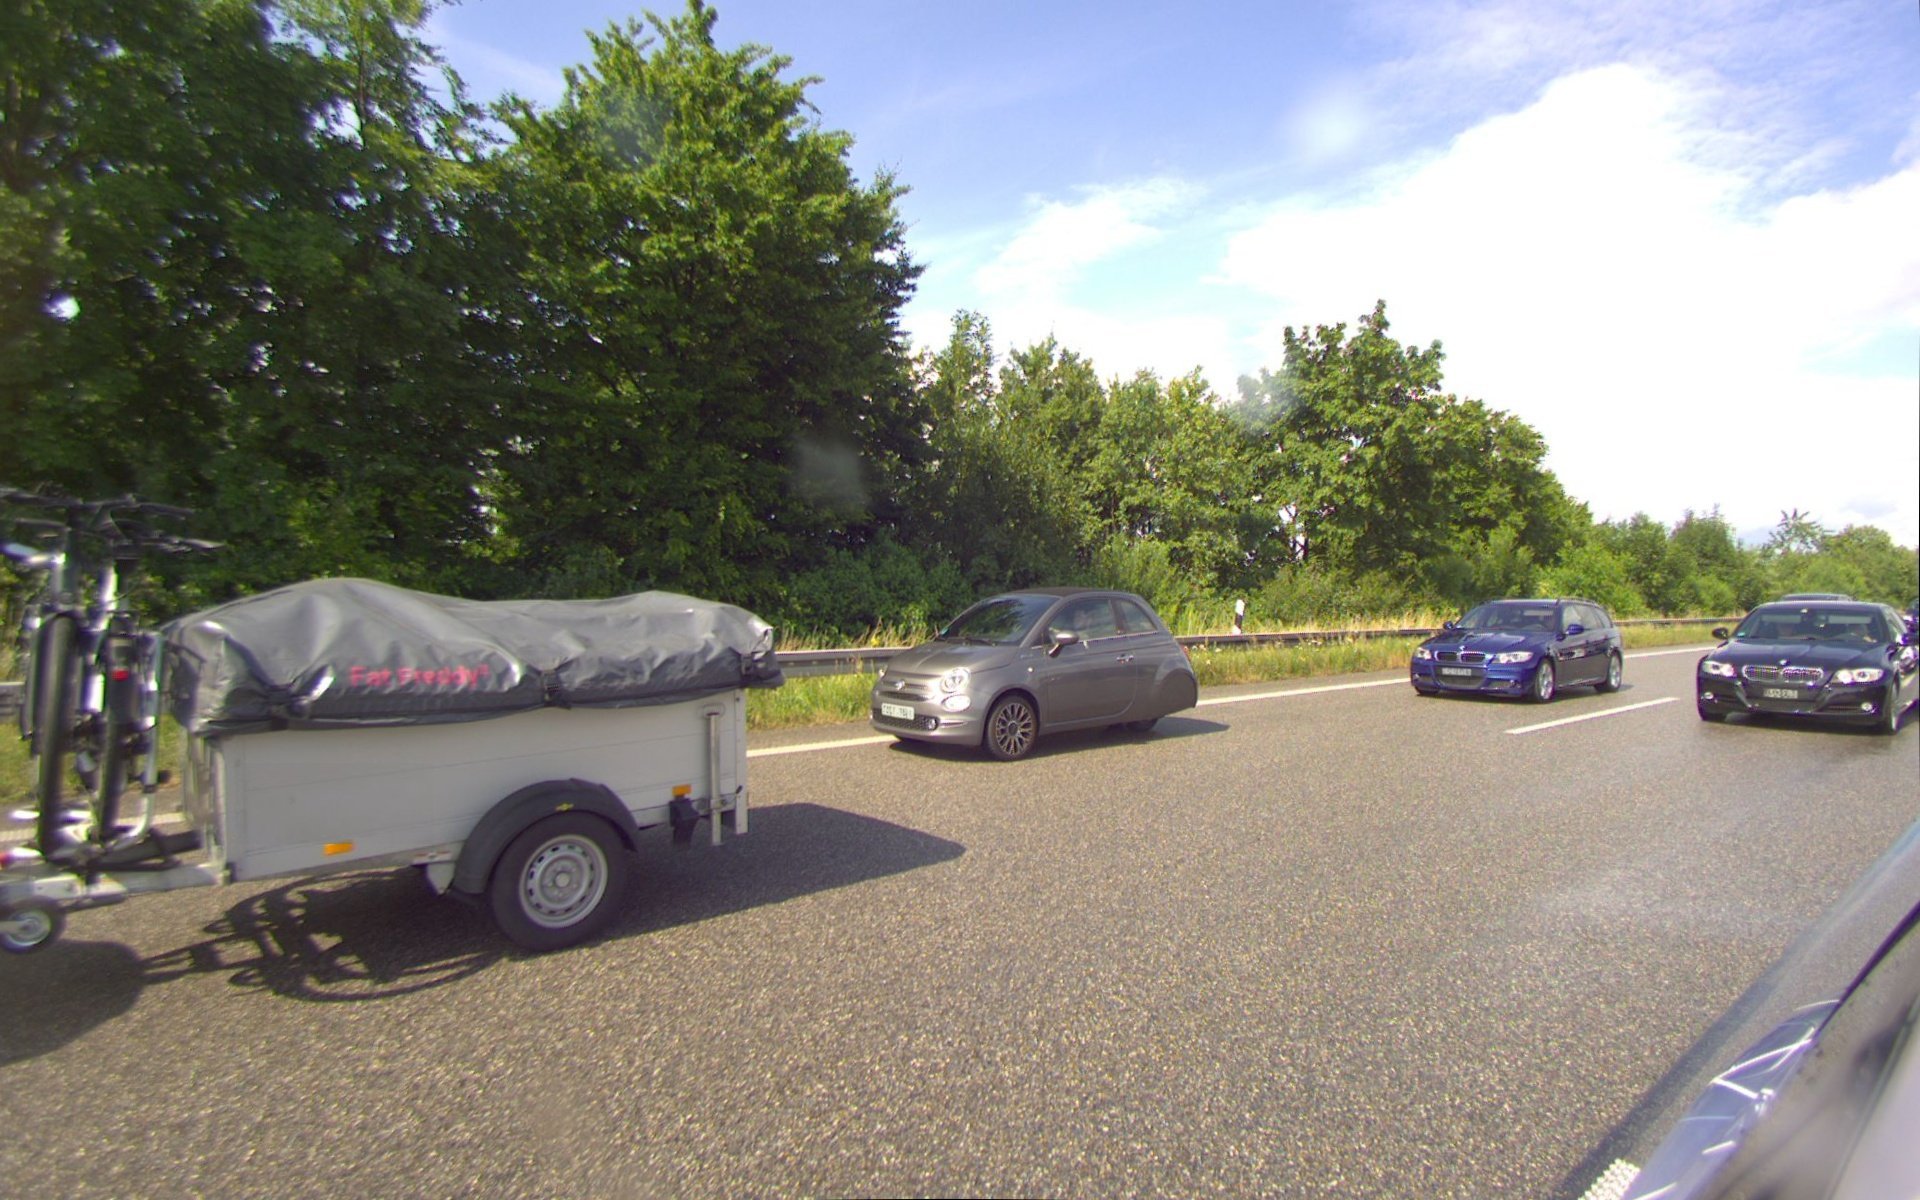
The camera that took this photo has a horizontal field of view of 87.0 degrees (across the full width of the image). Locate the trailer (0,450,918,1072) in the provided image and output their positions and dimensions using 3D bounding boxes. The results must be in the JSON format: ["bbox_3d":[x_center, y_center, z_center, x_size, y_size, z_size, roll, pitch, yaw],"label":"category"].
[{"bbox_3d":[-2.251,0.450,4.558,3.900,1.768,1.808,0,0,-43],"label":"trailer"}]

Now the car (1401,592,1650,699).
[{"bbox_3d":[8.577,0.569,15.182,4.498,1.368,1.771,0,1,-40],"label":"car"}]

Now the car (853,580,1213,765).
[{"bbox_3d":[0.809,0.568,9.972,3.420,1.507,1.615,0,1,-41],"label":"car"}]

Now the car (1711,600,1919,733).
[{"bbox_3d":[10.821,0.697,12.427,3.815,1.371,1.721,0,0,-40],"label":"car"}]

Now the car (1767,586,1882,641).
[{"bbox_3d":[25.561,0.337,29.885,4.176,1.509,1.997,0,1,-41],"label":"car"}]

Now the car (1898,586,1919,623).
[{"bbox_3d":[43.513,0.185,45.290,3.930,1.594,1.866,0,1,-41],"label":"car"}]
